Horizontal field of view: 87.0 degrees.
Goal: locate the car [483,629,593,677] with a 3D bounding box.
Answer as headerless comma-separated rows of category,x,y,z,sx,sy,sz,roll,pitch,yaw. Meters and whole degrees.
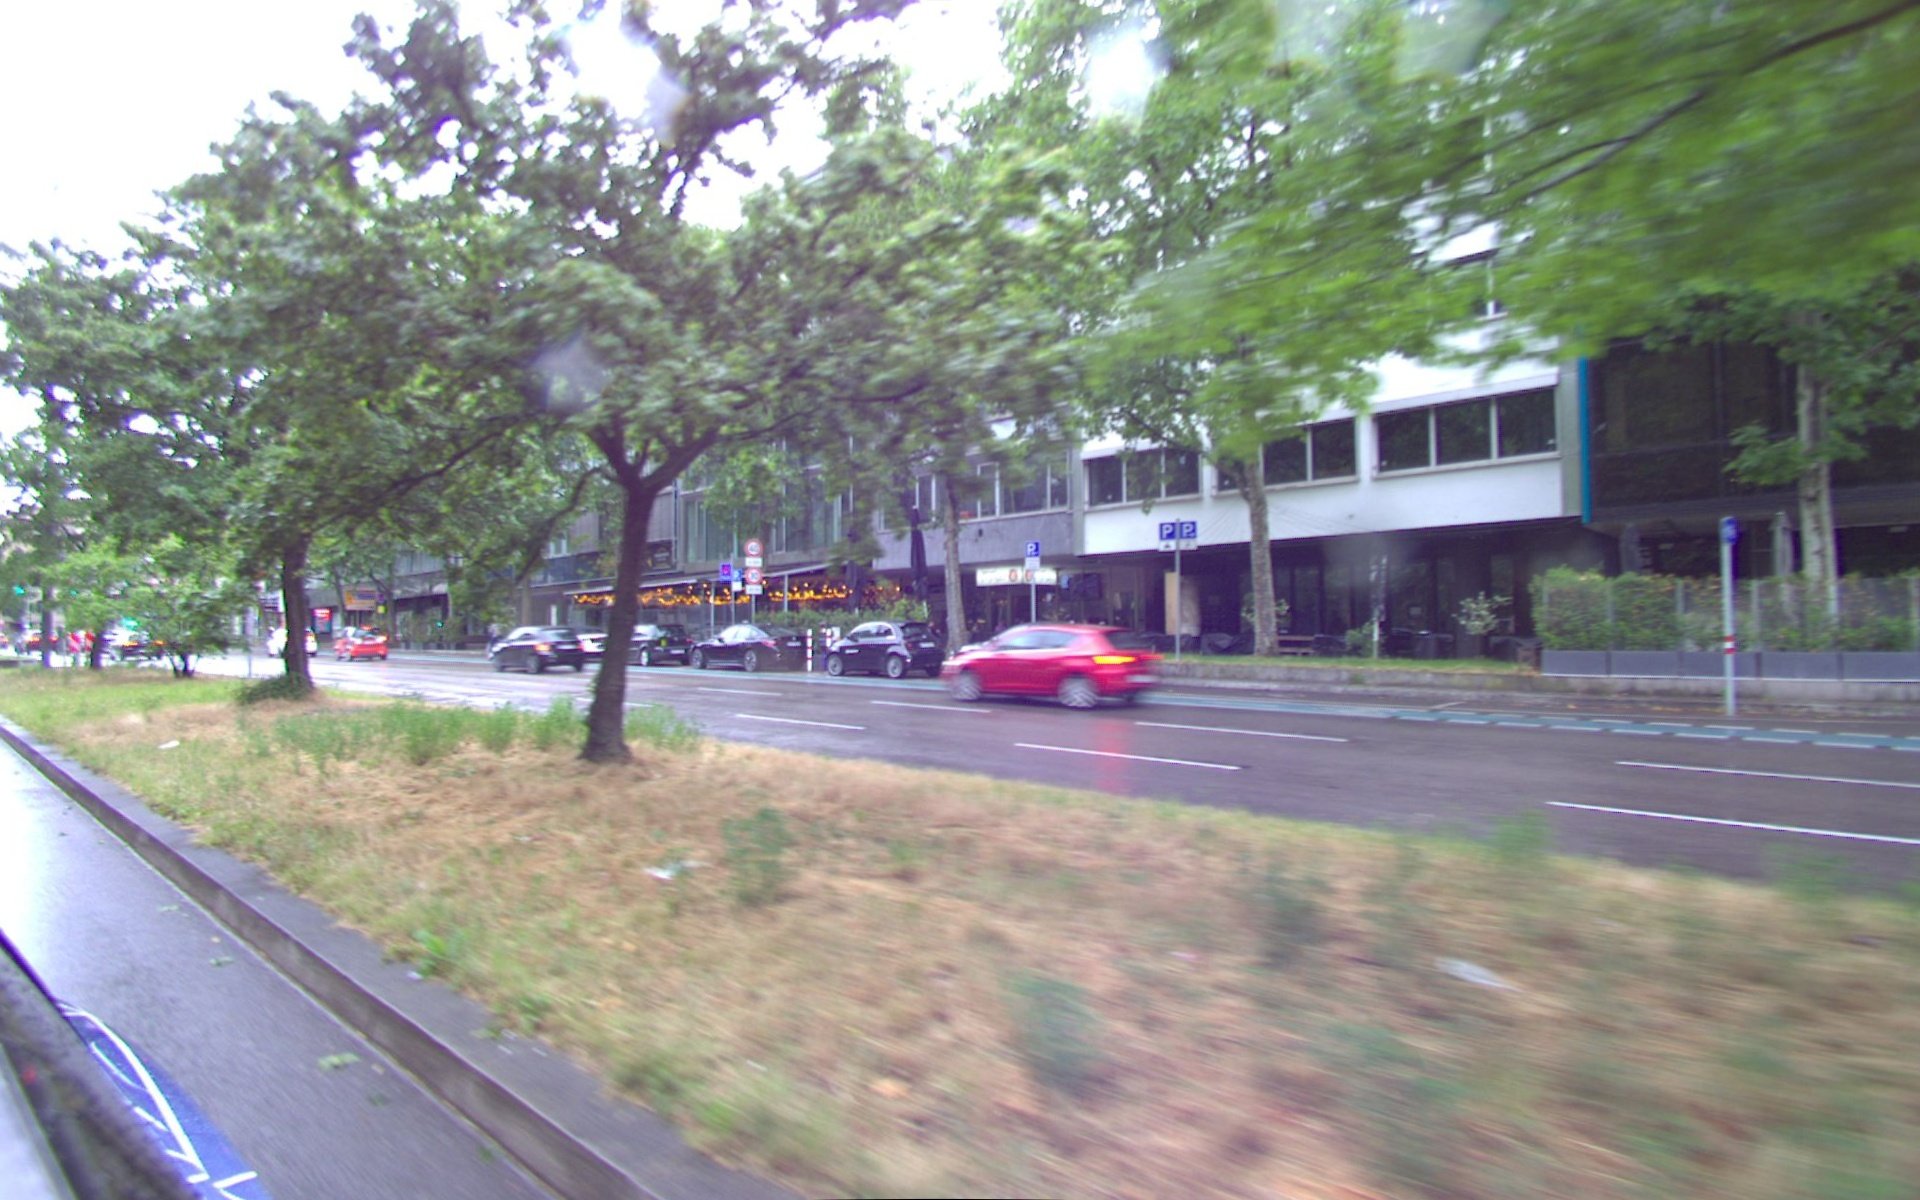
car,-13.401,1.657,32.059,4.001,1.400,1.822,-3,-3,45

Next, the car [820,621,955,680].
car,-1.987,1.340,27.099,3.459,1.480,1.675,-3,-3,42

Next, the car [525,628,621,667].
car,-15.085,1.849,39.338,4.682,1.364,1.542,-3,-2,42

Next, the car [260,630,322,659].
car,-34.447,2.283,52.090,3.642,1.440,1.823,-3,-3,42

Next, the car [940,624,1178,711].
car,1.701,1.179,18.394,4.183,1.404,1.597,-3,-3,42

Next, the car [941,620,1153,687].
car,1.921,1.225,23.593,4.903,1.420,1.675,-3,-3,42

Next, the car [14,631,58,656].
car,-68.619,3.255,75.155,5.105,1.780,1.817,-3,-2,41

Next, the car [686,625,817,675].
car,-6.507,1.528,31.273,4.455,1.420,1.675,-3,-3,42

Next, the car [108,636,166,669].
car,-41.895,2.627,51.492,4.096,1.487,1.730,-1,0,43

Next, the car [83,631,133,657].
car,-49.894,2.560,59.239,4.095,1.487,1.731,-2,-2,42

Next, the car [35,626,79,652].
car,-59.314,2.575,66.459,4.831,1.585,1.716,-3,-3,43

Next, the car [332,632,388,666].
car,-26.787,2.182,45.136,2.732,1.474,1.477,-2,-3,44

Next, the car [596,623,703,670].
car,-10.957,1.624,35.566,3.999,1.519,1.817,-3,-3,42

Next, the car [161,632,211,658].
car,-47.077,2.718,61.516,4.095,1.487,1.730,-2,-2,43
